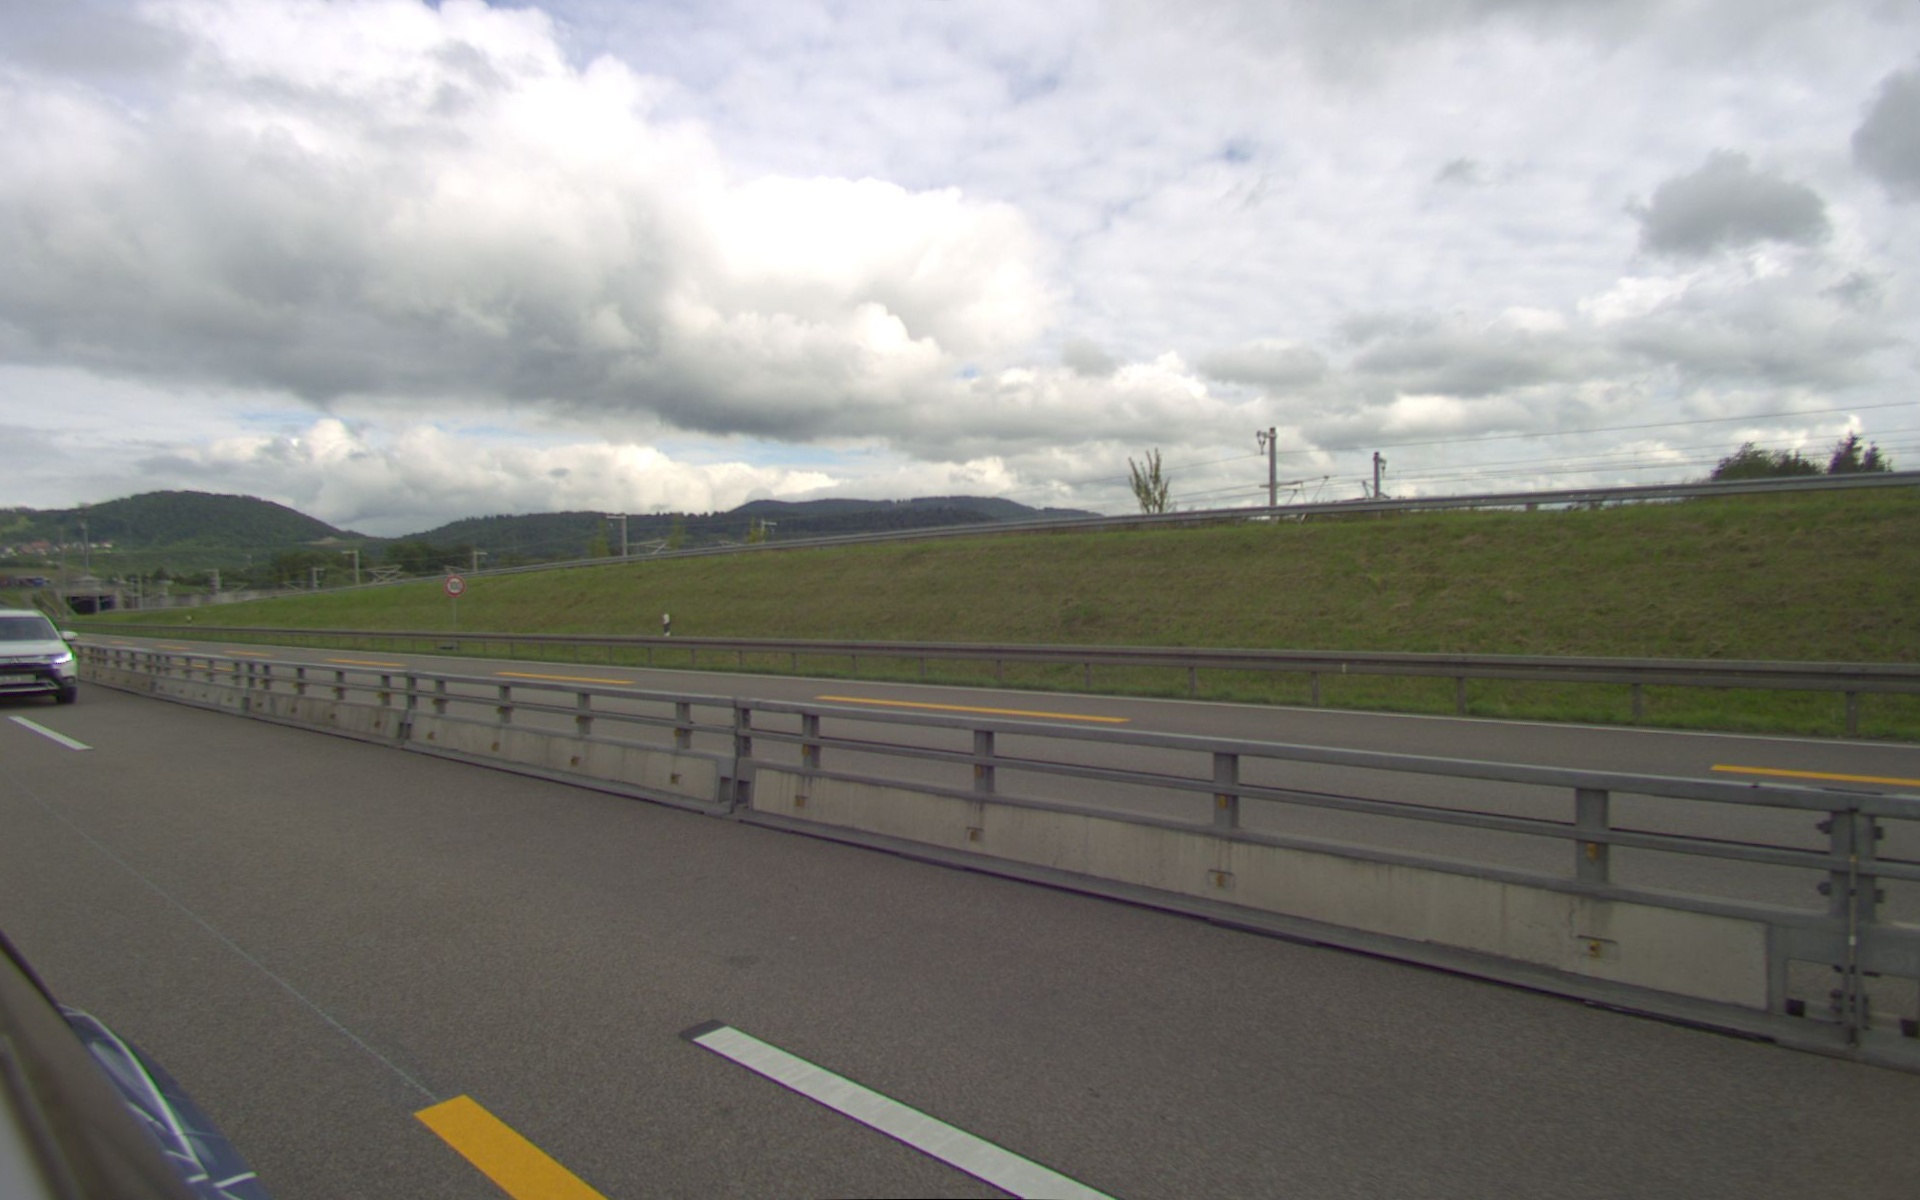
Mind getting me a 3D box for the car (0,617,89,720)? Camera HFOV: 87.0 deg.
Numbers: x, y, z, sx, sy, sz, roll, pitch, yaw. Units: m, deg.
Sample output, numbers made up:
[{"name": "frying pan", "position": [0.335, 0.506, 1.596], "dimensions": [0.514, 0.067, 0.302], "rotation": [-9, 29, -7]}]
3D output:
[{"name": "car", "position": [-17.012, 1.138, 17.825], "dimensions": [4.606, 1.640, 1.972], "rotation": [-1, -1, 42]}]
